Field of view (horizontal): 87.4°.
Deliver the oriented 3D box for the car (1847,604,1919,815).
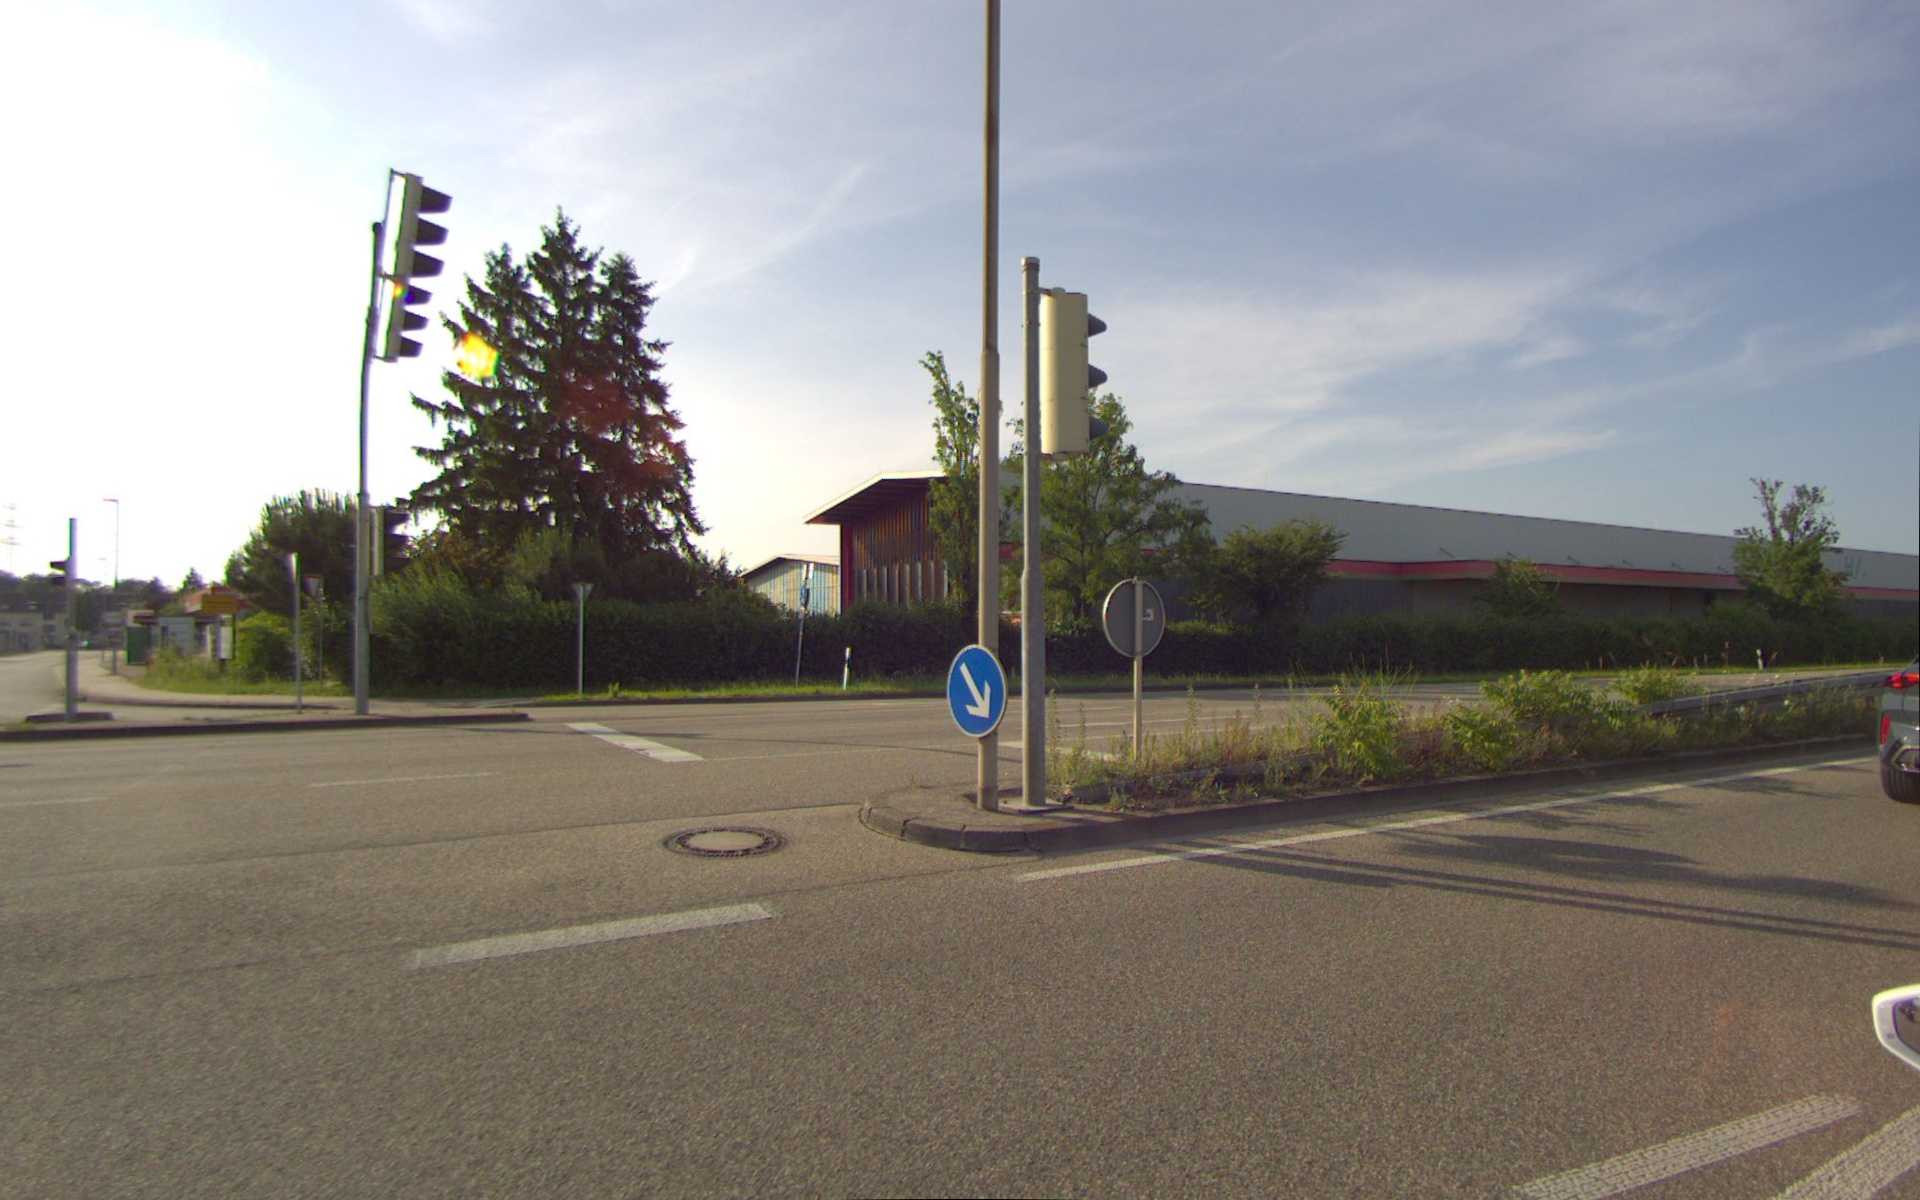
[{"bbox_3d":[9.593,0.898,8.507,4.349,1.633,1.837,1,1,-30],"label":"car"}]
